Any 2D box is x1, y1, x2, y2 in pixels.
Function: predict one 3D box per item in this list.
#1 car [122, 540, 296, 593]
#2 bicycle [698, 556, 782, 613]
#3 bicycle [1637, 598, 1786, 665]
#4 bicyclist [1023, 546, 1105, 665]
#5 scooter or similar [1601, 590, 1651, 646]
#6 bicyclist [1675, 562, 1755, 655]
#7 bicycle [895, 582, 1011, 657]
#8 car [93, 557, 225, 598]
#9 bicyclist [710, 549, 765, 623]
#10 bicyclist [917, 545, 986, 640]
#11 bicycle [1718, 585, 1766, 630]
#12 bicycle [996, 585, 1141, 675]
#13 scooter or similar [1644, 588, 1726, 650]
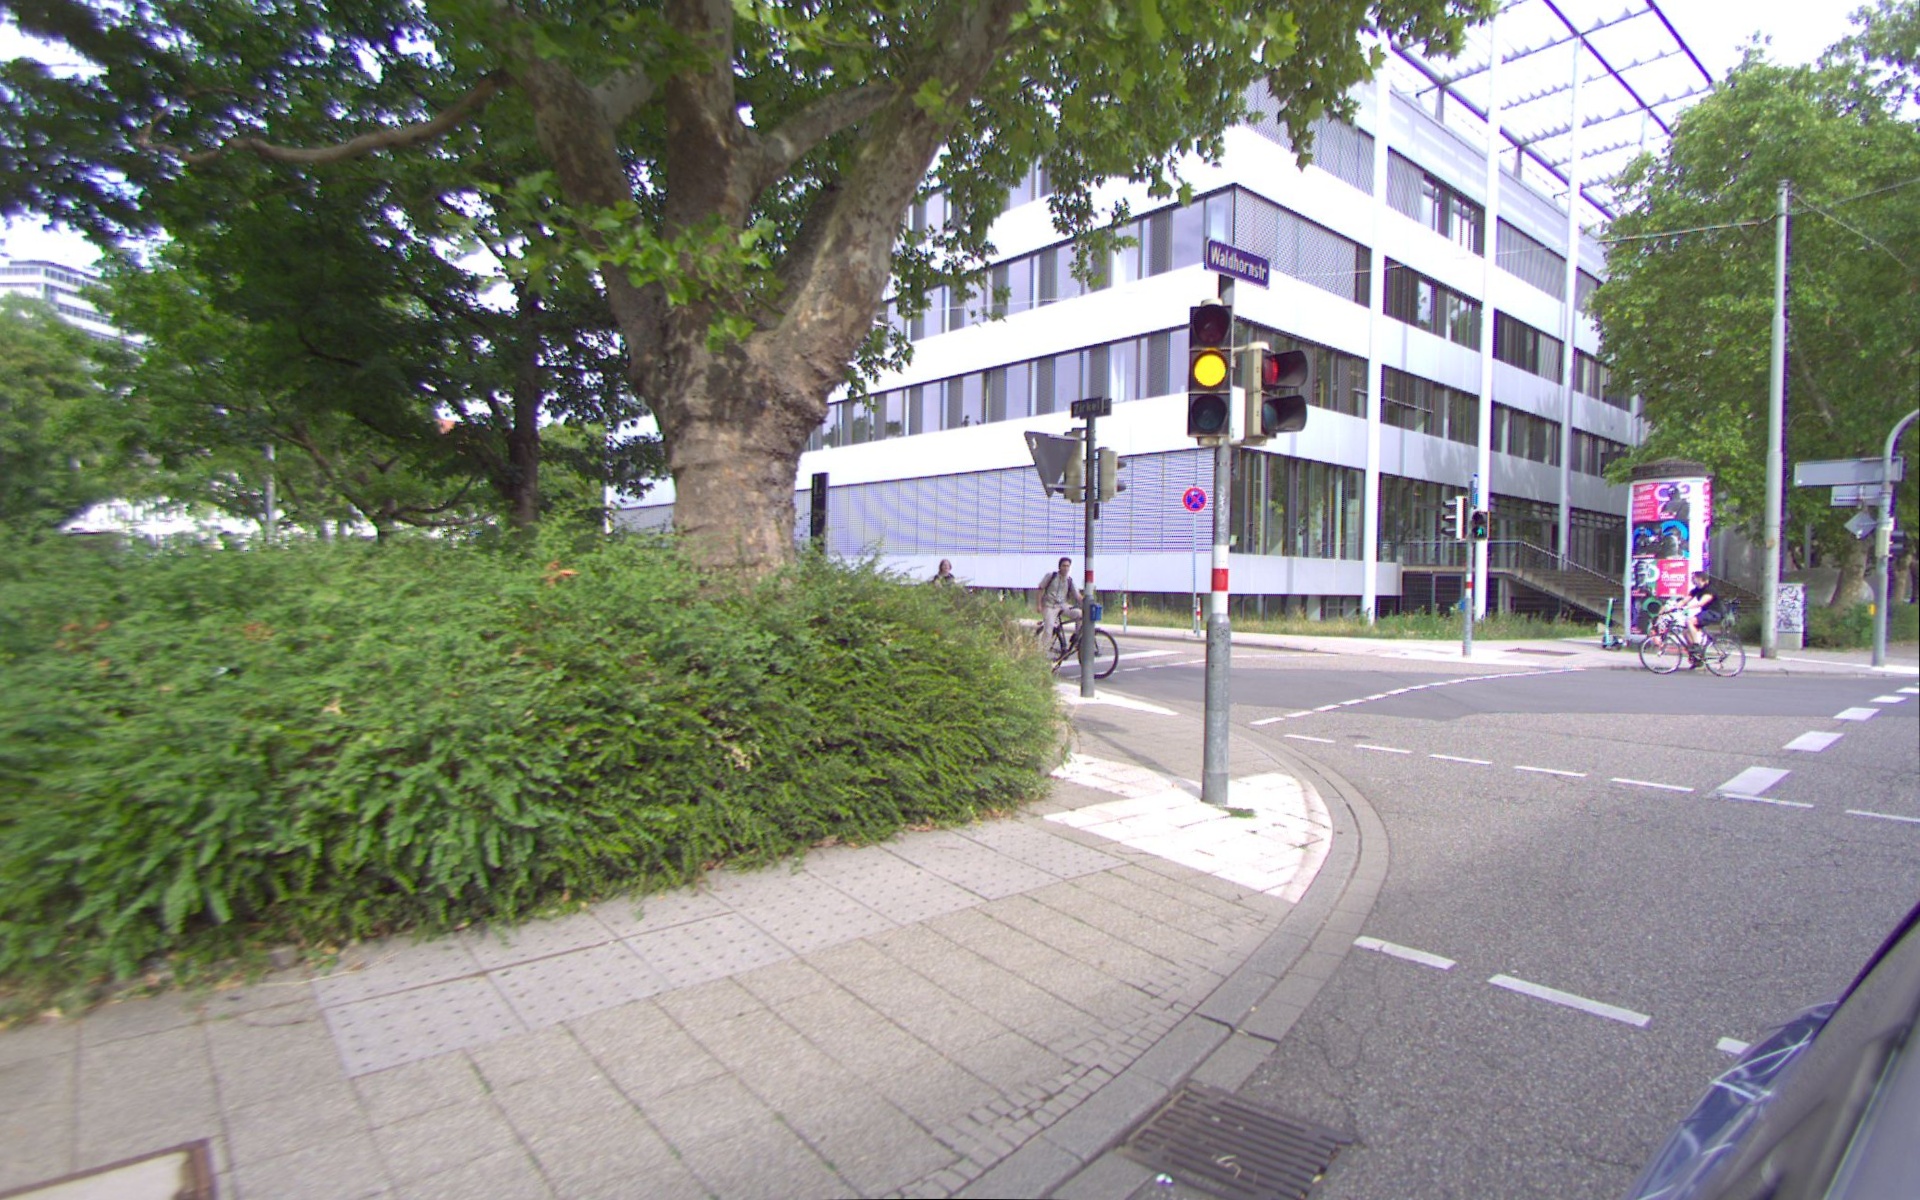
[{"bbox_3d":[-25.627,-1.089,34.660,4.687,1.651,1.998,0,0,-39],"label":"car"},{"bbox_3d":[-4.882,-0.369,22.320,0.899,1.186,2.250,-1,2,-39],"label":"bicycle"},{"bbox_3d":[13.153,0.541,17.755,1.966,1.145,0.773,0,-1,2],"label":"bicycle"},{"bbox_3d":[1.547,0.057,15.094,0.898,1.699,0.832,-1,2,-36],"label":"bicyclist"},{"bbox_3d":[14.659,0.379,22.301,0.466,1.151,1.304,3,3,15],"label":"scooter or similar"},{"bbox_3d":[13.235,0.151,17.773,0.786,1.603,0.773,0,-1,2],"label":"bicyclist"},{"bbox_3d":[-0.156,0.294,17.631,0.898,1.186,2.252,-1,2,-35],"label":"bicycle"},{"bbox_3d":[-37.379,-1.017,47.292,4.693,1.817,1.995,0,0,-44],"label":"car"},{"bbox_3d":[-4.910,-0.321,22.339,0.899,1.596,0.831,-1,2,-39],"label":"bicyclist"},{"bbox_3d":[-0.148,-0.147,17.607,0.898,1.596,0.832,-1,2,-36],"label":"bicyclist"},{"bbox_3d":[21.290,0.203,27.539,1.695,1.184,0.699,0,0,-41],"label":"bicycle"},{"bbox_3d":[1.568,0.397,15.065,0.898,1.186,2.252,-1,2,-35],"label":"bicycle"},{"bbox_3d":[15.385,0.386,21.502,0.338,1.224,1.311,0,3,-35],"label":"scooter or similar"}]
